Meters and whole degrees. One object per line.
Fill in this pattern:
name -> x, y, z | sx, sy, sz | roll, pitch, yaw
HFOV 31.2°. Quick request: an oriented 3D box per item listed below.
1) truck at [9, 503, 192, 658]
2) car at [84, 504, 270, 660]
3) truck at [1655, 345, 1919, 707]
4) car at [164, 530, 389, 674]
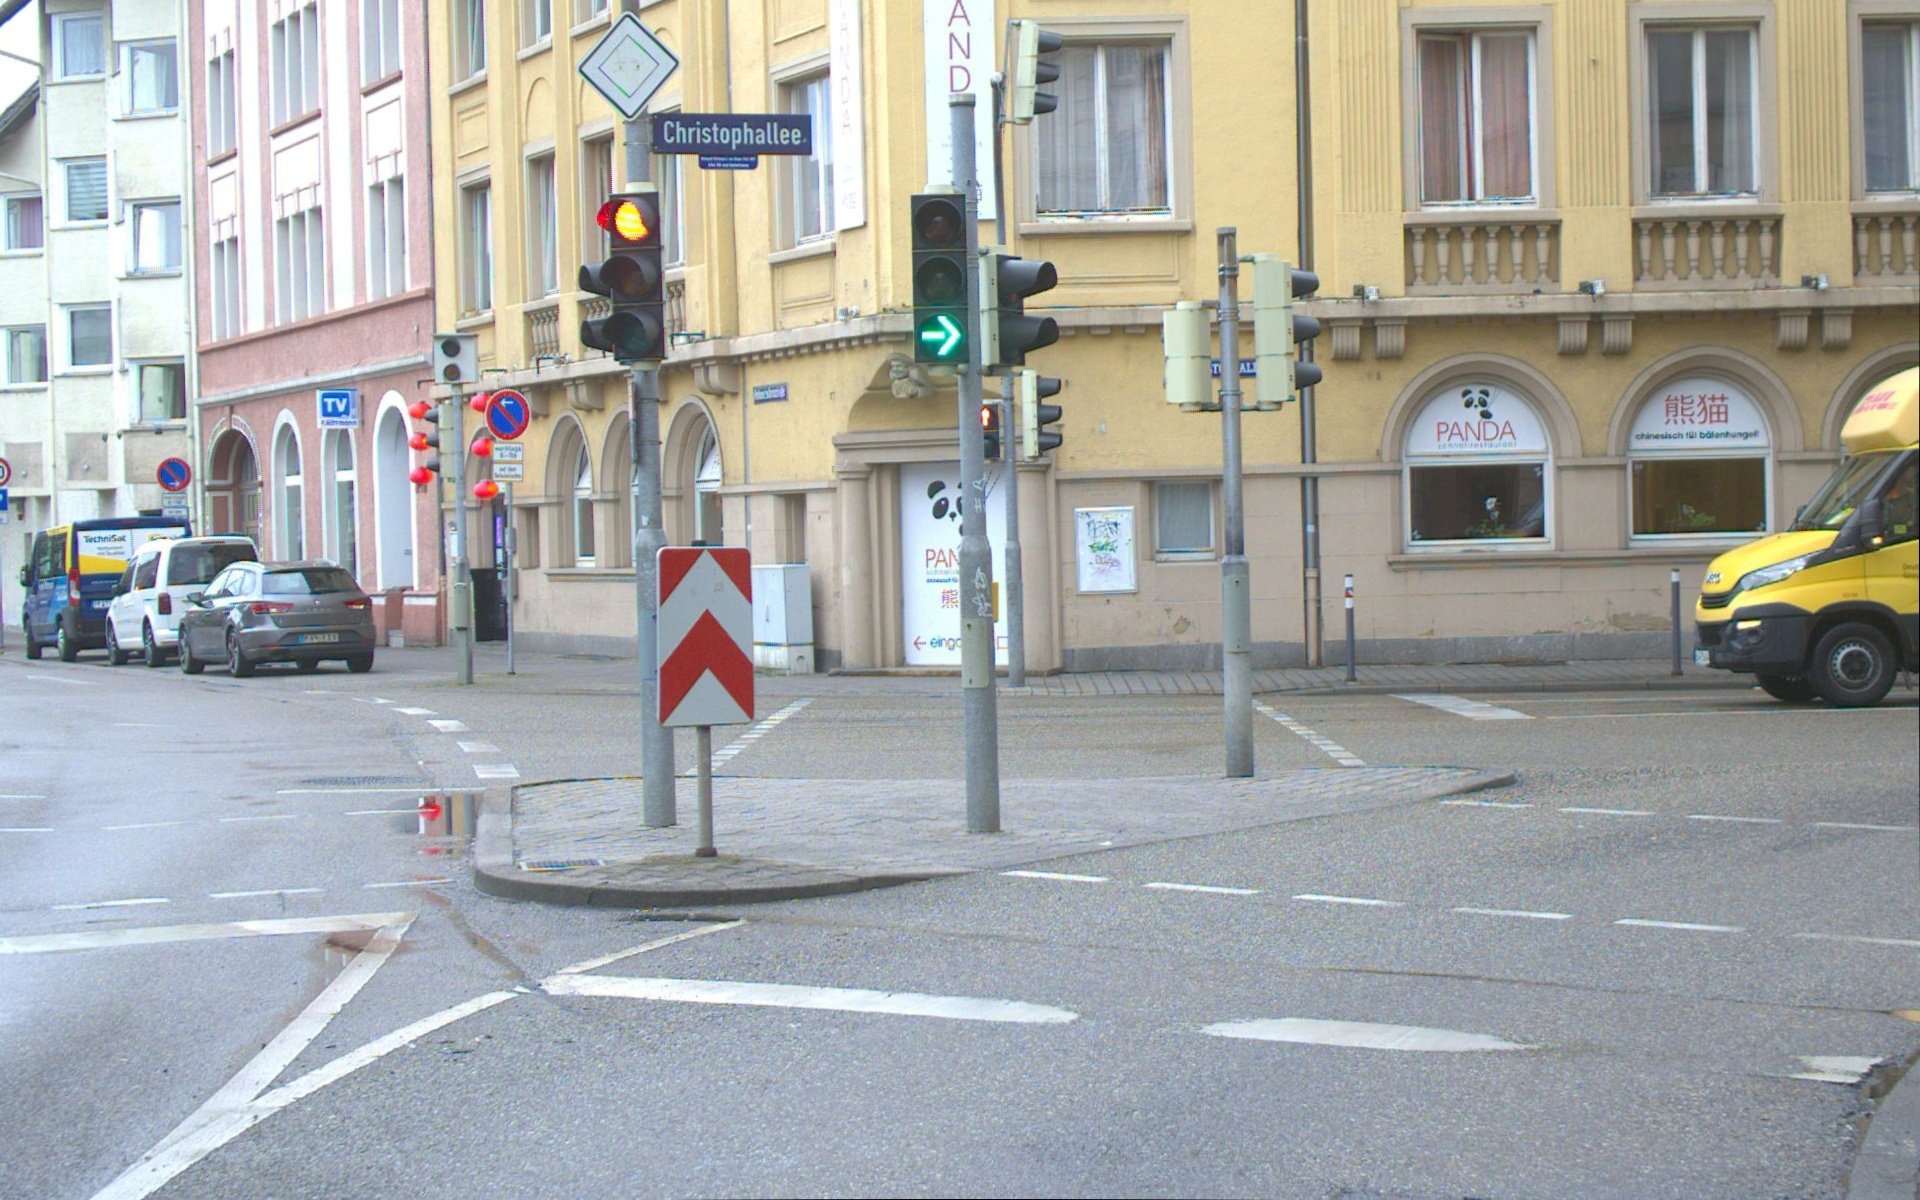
truck -> -13.859, -0.357, 55.290 | 2.026, 2.381, 4.238 | 0, 2, -26
car -> -11.441, -0.299, 50.061 | 1.761, 2.172, 4.001 | 0, 2, -26
truck -> 9.485, -0.626, 28.236 | 7.091, 2.841, 2.083 | -1, 1, -1
car -> -8.727, -0.025, 43.664 | 1.878, 1.631, 4.001 | -2, 3, -25
